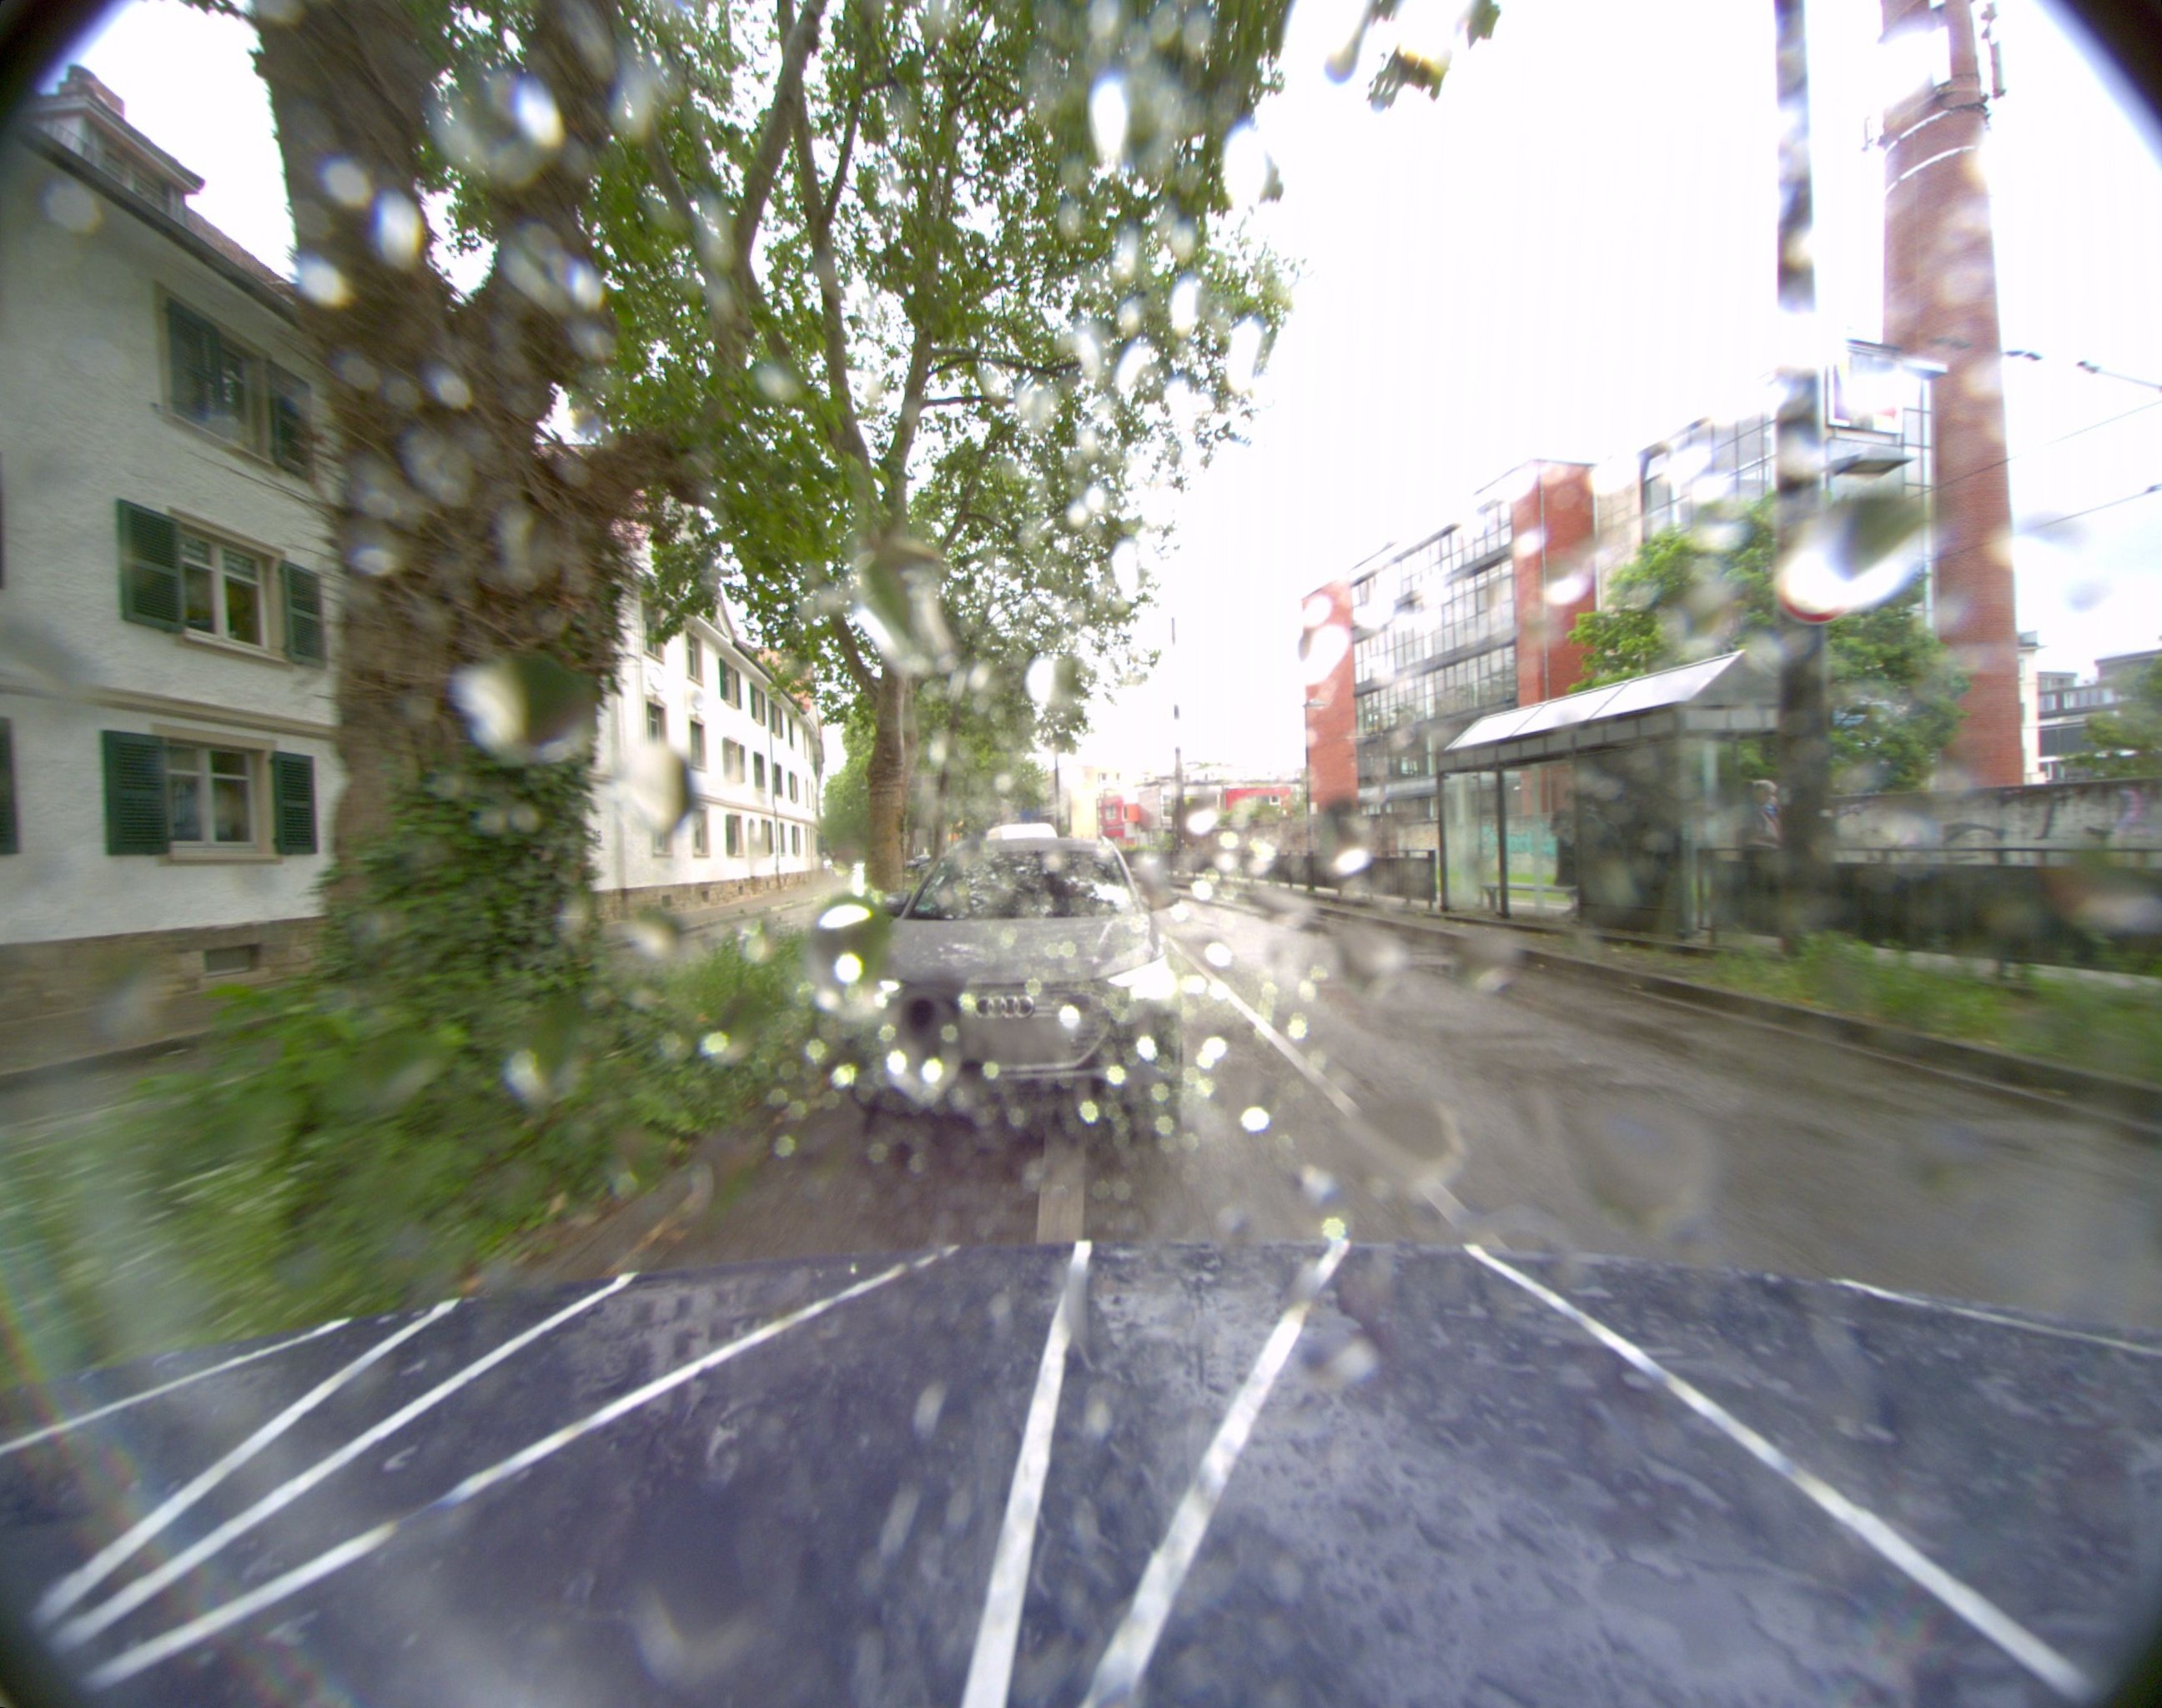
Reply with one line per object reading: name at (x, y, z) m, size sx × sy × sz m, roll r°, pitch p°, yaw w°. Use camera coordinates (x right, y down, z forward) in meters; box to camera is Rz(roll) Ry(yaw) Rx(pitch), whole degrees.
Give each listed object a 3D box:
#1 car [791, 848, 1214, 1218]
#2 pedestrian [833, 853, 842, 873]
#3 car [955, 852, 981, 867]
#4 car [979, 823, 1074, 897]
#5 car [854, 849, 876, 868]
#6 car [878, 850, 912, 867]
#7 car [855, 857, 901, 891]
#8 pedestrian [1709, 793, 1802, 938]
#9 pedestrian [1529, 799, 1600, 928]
car at (-0.420, 0.821, 5.618) m, size 1.917 × 1.632 × 4.106 m, roll -2°, pitch 1°, yaw -2°
pedestrian at (-22.238, 0.808, 69.426) m, size 0.674 × 1.811 × 0.678 m, roll -3°, pitch 2°, yaw -18°
car at (-11.437, 0.522, 76.735) m, size 1.721 × 1.451 × 3.741 m, roll -3°, pitch 1°, yaw -21°
car at (-2.045, 0.178, 26.642) m, size 2.198 × 2.250 × 5.404 m, roll -3°, pitch 1°, yaw -16°
car at (-24.864, 0.487, 87.305) m, size 2.002 × 2.002 × 3.992 m, roll 2°, pitch 0°, yaw -20°
car at (-23.312, 0.533, 95.166) m, size 4.002 × 2.002 × 1.997 m, roll -3°, pitch 1°, yaw -17°
car at (-10.548, 0.996, 39.715) m, size 1.832 × 1.517 × 3.996 m, roll -2°, pitch 1°, yaw -8°
pedestrian at (7.755, 0.117, 8.743) m, size 0.715 × 1.594 × 0.494 m, roll -3°, pitch 2°, yaw -18°
pedestrian at (6.721, 0.128, 10.584) m, size 0.629 × 1.739 × 0.564 m, roll -2°, pitch 2°, yaw 9°
